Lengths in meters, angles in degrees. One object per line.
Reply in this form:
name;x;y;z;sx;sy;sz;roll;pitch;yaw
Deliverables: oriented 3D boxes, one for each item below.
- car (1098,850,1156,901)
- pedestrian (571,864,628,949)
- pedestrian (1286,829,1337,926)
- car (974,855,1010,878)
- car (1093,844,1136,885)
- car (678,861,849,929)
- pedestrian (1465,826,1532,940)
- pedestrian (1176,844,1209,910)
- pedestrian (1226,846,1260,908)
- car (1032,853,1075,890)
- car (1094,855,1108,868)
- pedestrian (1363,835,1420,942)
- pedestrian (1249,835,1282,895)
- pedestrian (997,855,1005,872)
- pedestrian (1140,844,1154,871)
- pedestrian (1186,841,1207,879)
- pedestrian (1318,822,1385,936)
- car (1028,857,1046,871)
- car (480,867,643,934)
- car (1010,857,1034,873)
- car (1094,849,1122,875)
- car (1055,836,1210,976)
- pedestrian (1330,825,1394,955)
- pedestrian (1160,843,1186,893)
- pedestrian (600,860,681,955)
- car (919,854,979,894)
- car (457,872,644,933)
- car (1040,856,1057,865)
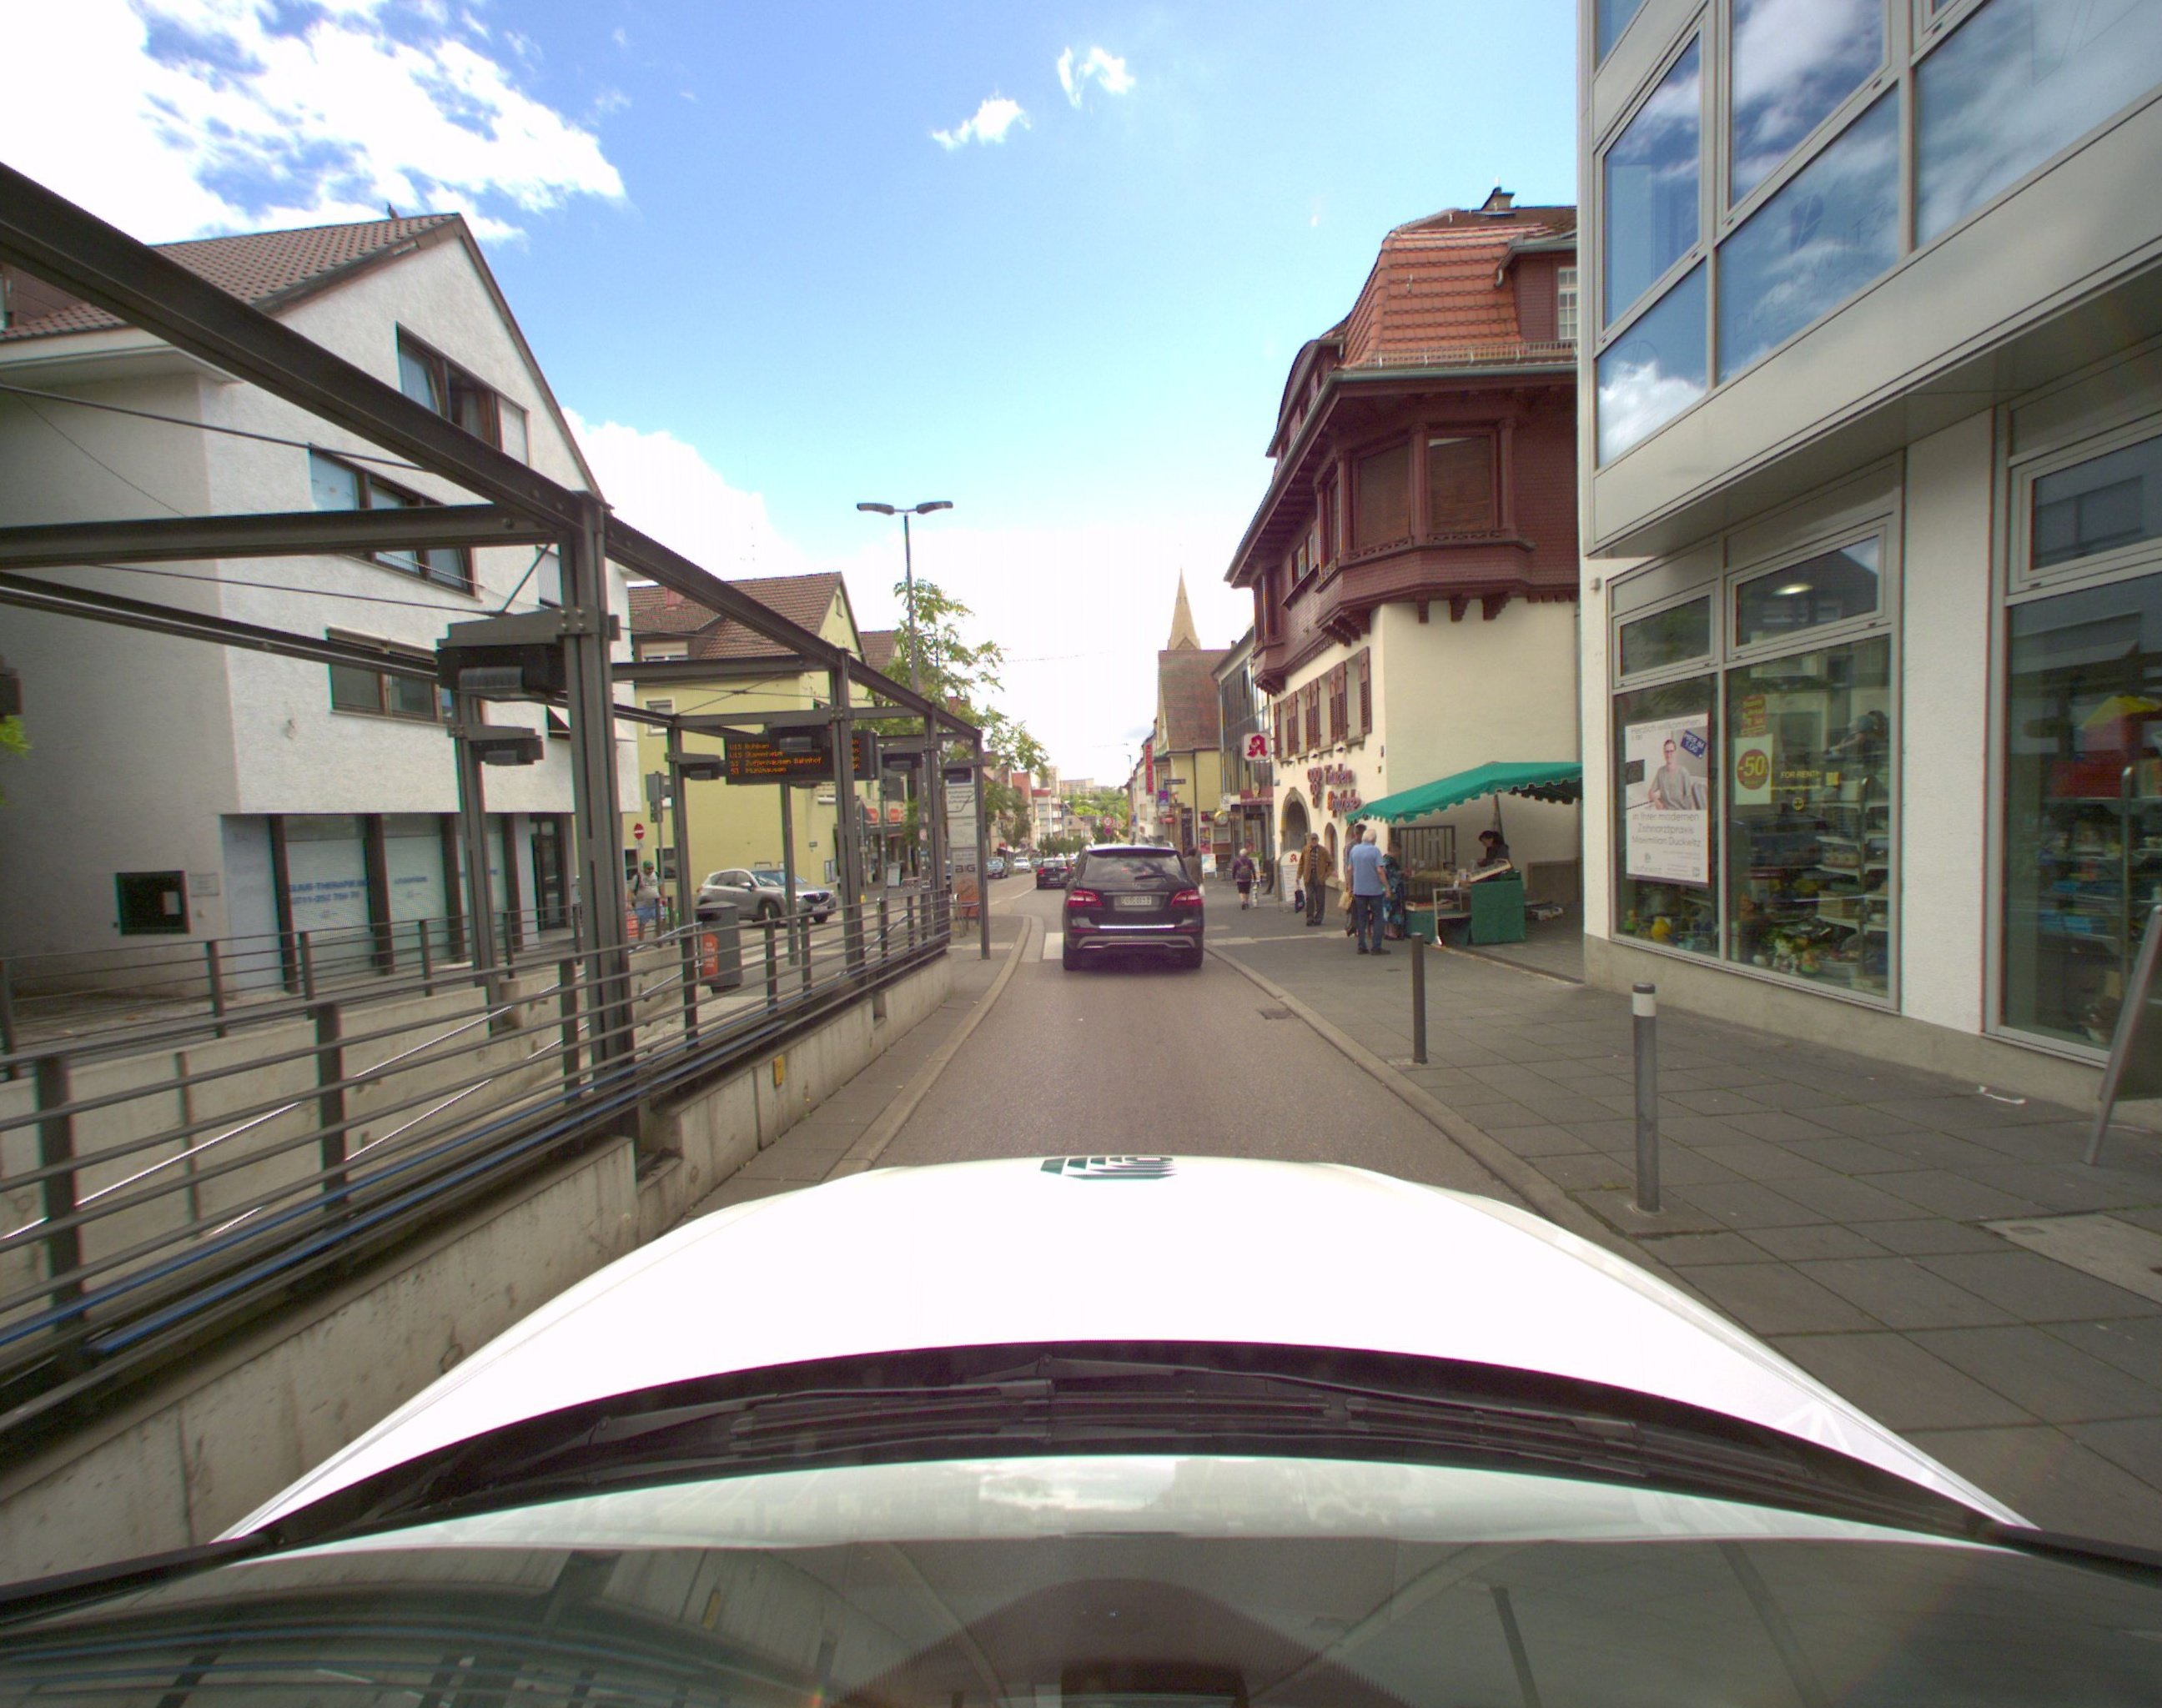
car;1.549;0.699;28.347;1.796;1.555;3.955;-3;0;2
pedestrian;-10.359;1.106;17.547;0.635;1.738;0.835;-4;0;-1
pedestrian;4.440;0.449;15.714;0.782;1.801;0.677;-2;0;7
car;-6.092;0.817;56.140;1.920;1.492;4.842;0;0;0
car;1.711;0.479;39.765;1.868;1.799;4.738;-2;0;4
car;-8.820;1.145;22.607;4.300;1.621;1.982;-3;1;27
pedestrian;6.150;0.418;12.035;0.620;1.612;0.704;-2;0;6
pedestrian;2.876;0.587;21.042;0.768;1.645;0.872;-2;0;7
pedestrian;4.082;0.569;20.567;0.720;1.531;0.809;-2;0;7
car;-1.241;0.784;38.257;1.779;1.540;3.745;-2;0;1
car;2.987;1.123;123.419;1.931;1.891;4.707;-4;0;0
pedestrian;4.839;0.524;12.720;0.620;1.612;0.704;-2;0;6
pedestrian;5.607;0.318;24.775;0.771;1.769;0.818;-2;0;2
pedestrian;-7.208;0.847;73.360;0.488;1.463;0.560;-2;0;10
pedestrian;4.407;0.241;54.075;0.793;1.727;1.053;-3;0;1
pedestrian;5.349;0.258;37.679;0.859;1.707;0.947;-2;0;7
pedestrian;4.572;0.403;13.758;0.771;1.857;0.707;-3;0;44
car;-5.179;1.198;96.117;1.920;1.621;4.638;-1;-1;0
car;-18.173;1.598;28.618;4.318;1.805;2.004;-5;3;5
car;-5.679;1.045;78.855;1.920;1.511;4.261;0;0;0
car;1.845;0.532;55.373;1.742;1.607;3.802;-4;0;2
car;0.714;0.651;12.374;1.936;1.740;4.180;-1;0;2
pedestrian;3.968;0.492;11.492;0.694;1.767;0.629;-2;0;27
pedestrian;3.171;0.477;28.053;0.819;1.666;0.803;-2;0;7
pedestrian;-8.782;1.052;16.260;0.909;1.787;0.992;-3;0;17
car;-6.171;0.881;38.483;2.000;1.693;4.608;-1;1;1
car;-16.184;1.443;25.042;4.352;1.569;1.911;-2;0;-6
car;-7.658;1.512;192.607;3.978;1.750;1.998;-4;-1;-3
